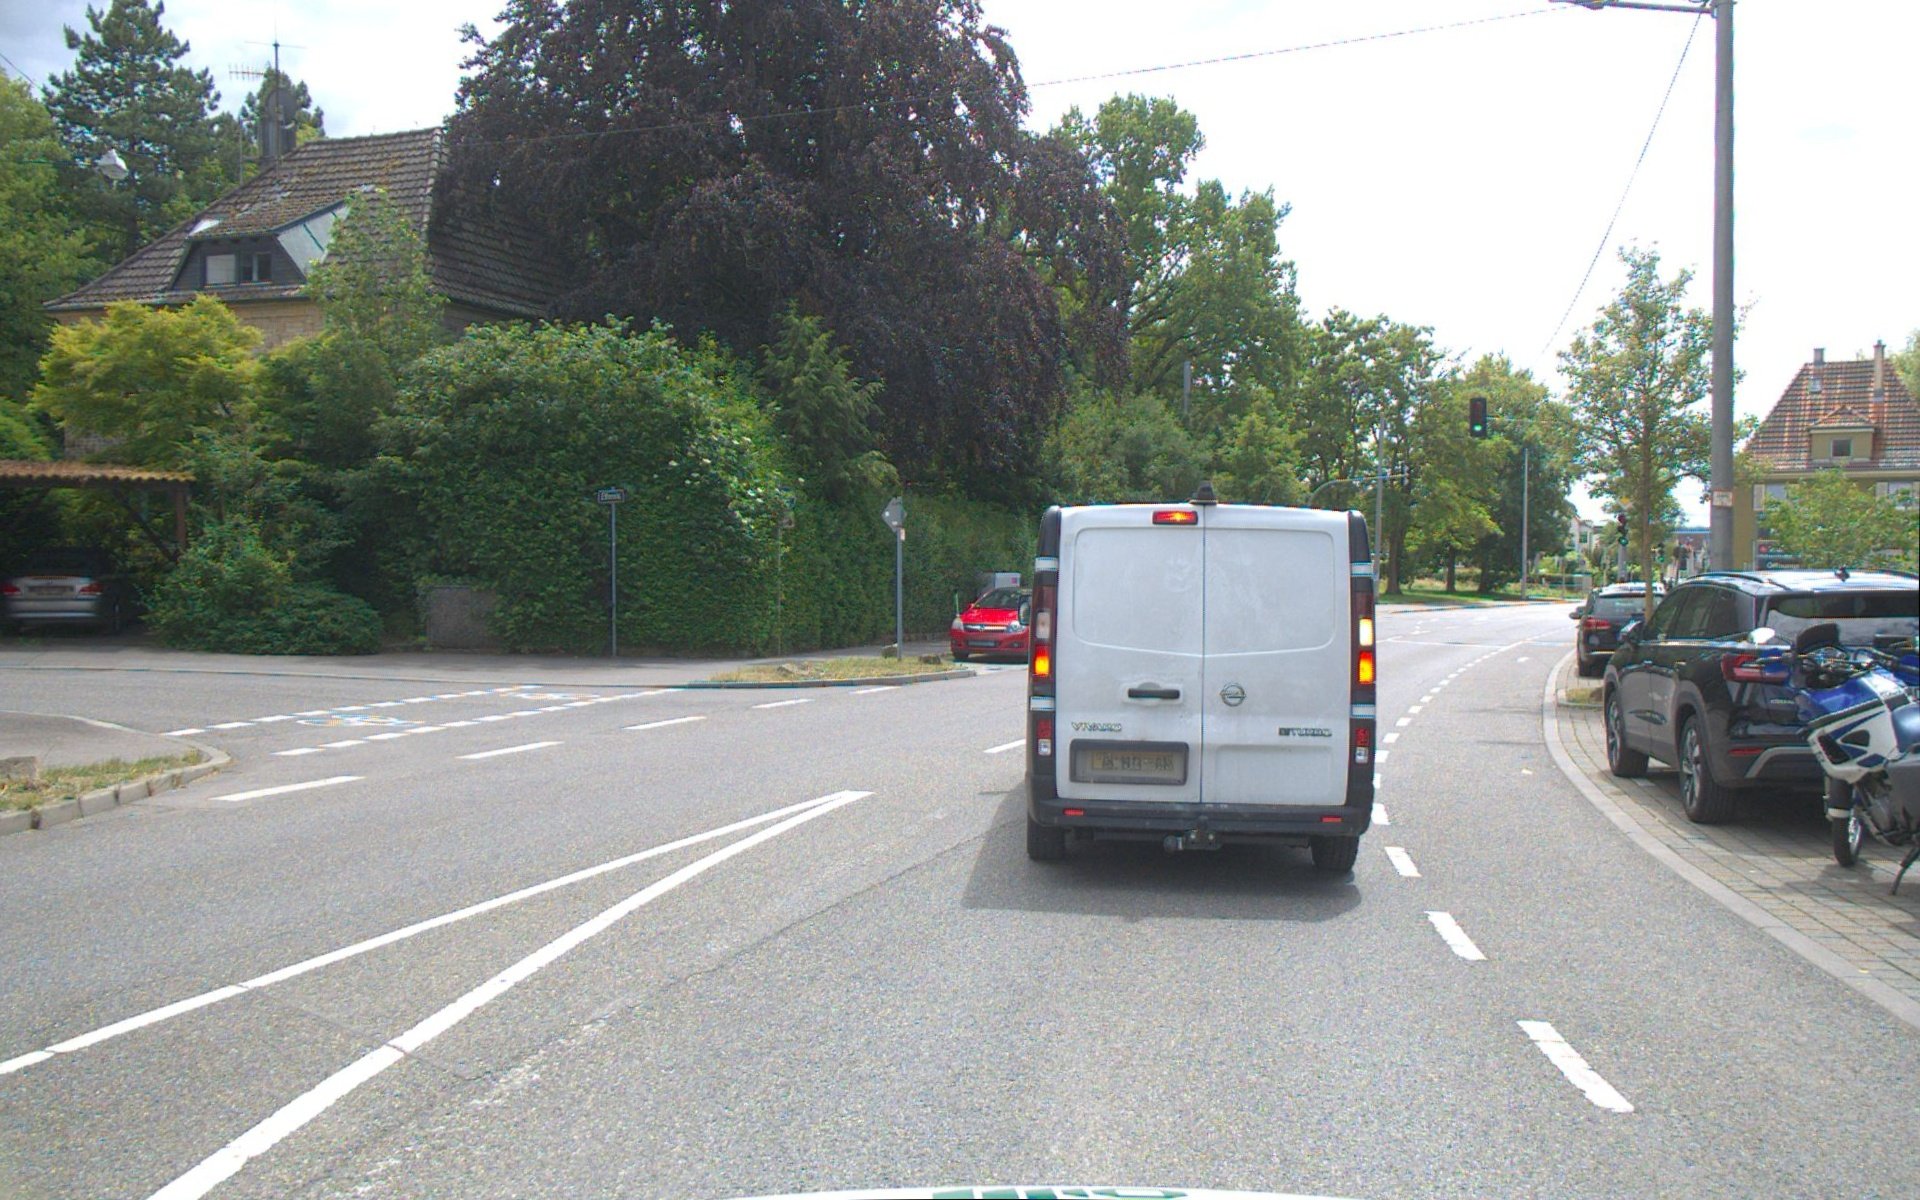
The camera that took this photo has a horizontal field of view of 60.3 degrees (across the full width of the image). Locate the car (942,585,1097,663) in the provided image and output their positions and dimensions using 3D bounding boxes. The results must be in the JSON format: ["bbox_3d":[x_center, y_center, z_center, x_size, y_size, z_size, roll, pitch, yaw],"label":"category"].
[{"bbox_3d":[1.281,0.426,33.048,1.627,1.402,4.566,2,1,22],"label":"car"}]

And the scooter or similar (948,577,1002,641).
[{"bbox_3d":[0.352,0.195,38.762,0.657,1.436,1.648,2,1,23],"label":"scooter or similar"}]

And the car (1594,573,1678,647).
[{"bbox_3d":[16.111,0.218,39.493,1.701,1.644,4.386,-2,0,22],"label":"car"}]

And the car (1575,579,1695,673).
[{"bbox_3d":[12.009,0.416,29.666,1.728,1.503,4.937,-2,0,20],"label":"car"}]

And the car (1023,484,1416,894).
[{"bbox_3d":[1.462,0.399,10.601,1.898,1.995,4.836,1,1,4],"label":"car"}]

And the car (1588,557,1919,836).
[{"bbox_3d":[6.033,0.553,12.211,1.838,1.650,4.851,-1,0,12],"label":"car"}]

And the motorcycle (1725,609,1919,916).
[{"bbox_3d":[4.880,0.748,8.593,1.048,1.328,2.262,-2,0,10],"label":"motorcycle"}]

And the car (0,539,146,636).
[{"bbox_3d":[-15.121,-0.253,28.334,1.698,1.536,3.976,1,2,-21],"label":"car"}]
